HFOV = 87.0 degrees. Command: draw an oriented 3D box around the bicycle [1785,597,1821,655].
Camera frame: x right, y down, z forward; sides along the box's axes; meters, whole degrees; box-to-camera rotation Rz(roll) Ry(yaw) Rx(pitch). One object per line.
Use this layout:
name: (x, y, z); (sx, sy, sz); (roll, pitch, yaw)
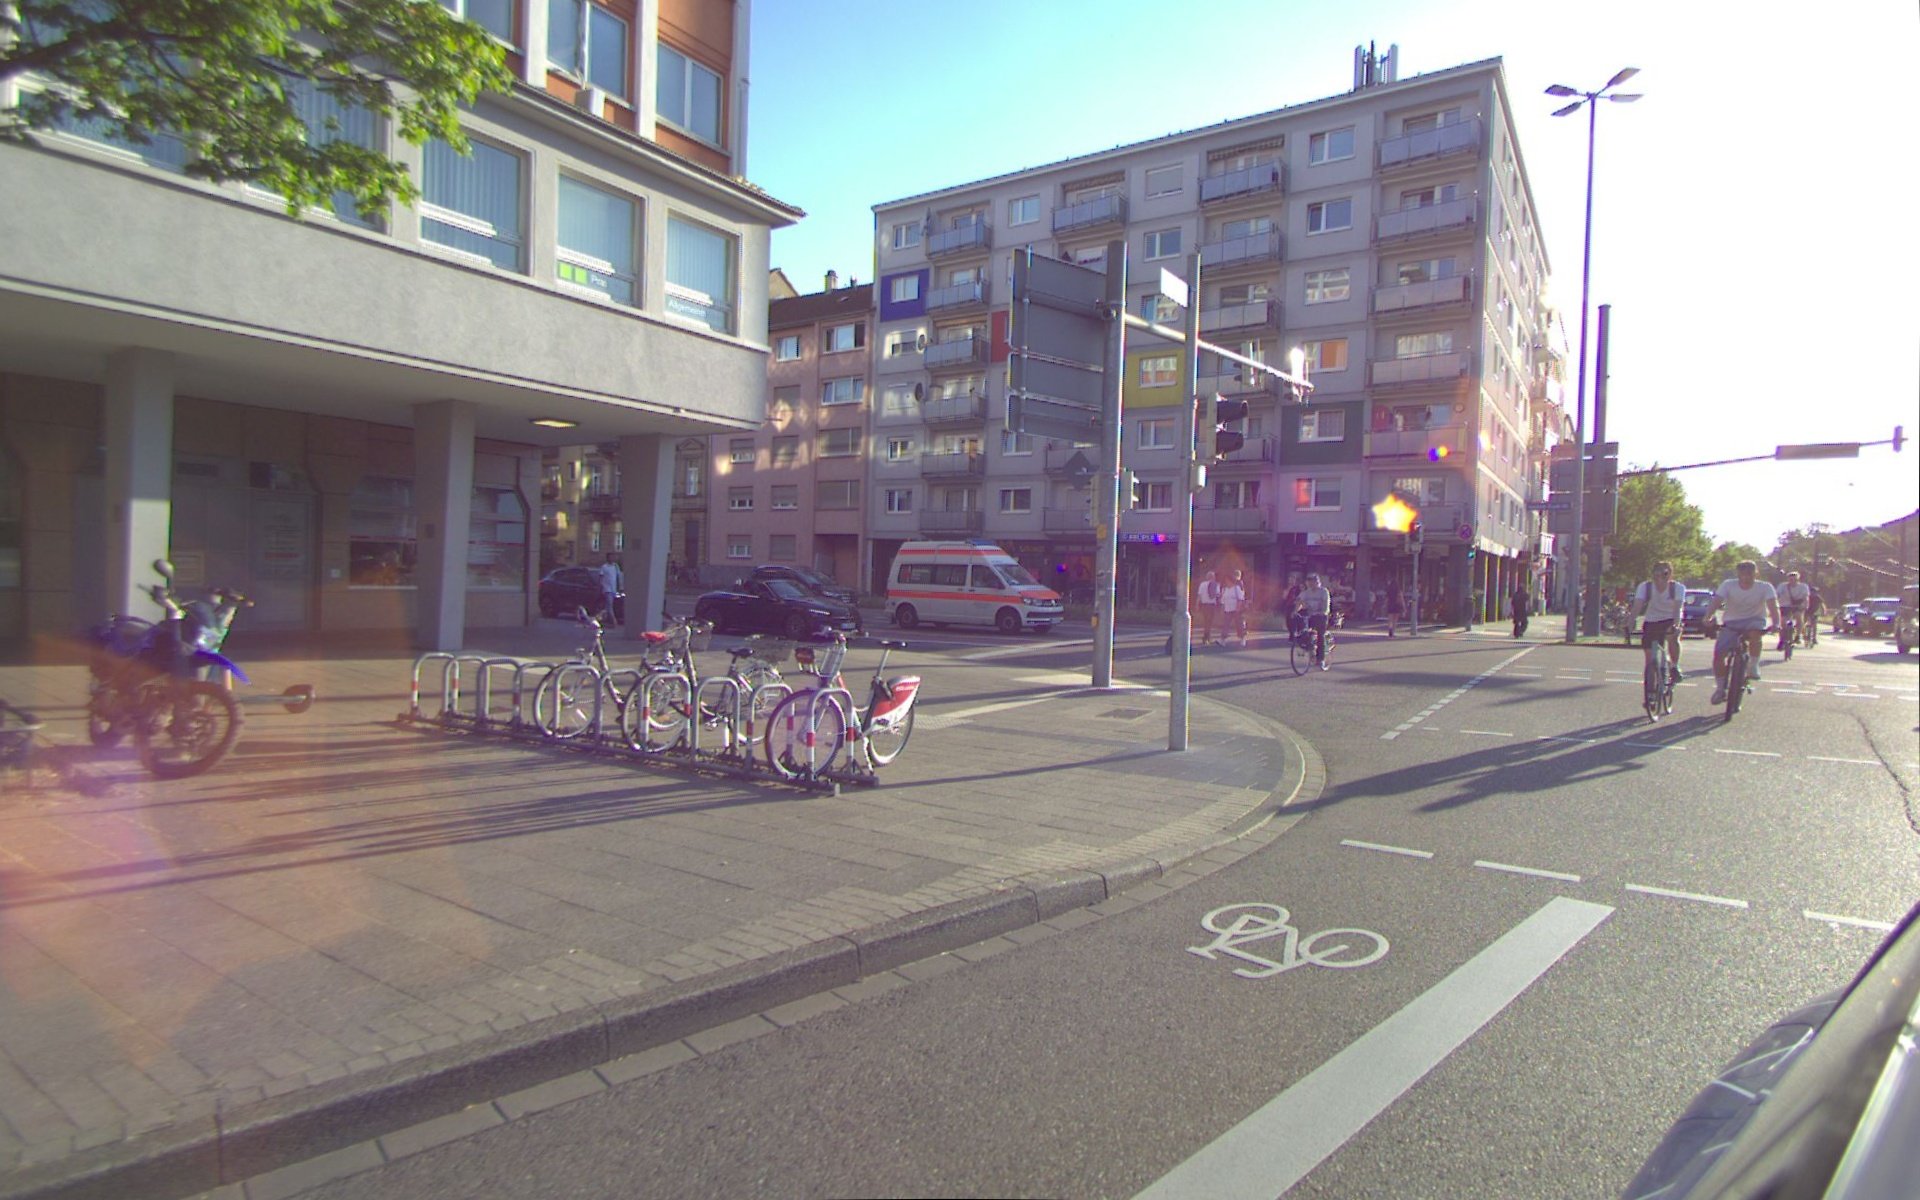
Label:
bicycle: (17.869, 0.522, 21.436); (0.528, 1.173, 1.821); (1, 1, 42)

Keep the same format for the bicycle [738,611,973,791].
bicycle: (-0.707, 0.665, 7.481); (0.643, 1.141, 1.849); (2, 0, 36)

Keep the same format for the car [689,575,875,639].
car: (-4.450, 0.116, 24.954); (4.649, 1.357, 1.816); (2, 1, 37)

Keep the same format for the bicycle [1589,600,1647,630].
bicycle: (26.165, 0.582, 40.278); (1.860, 1.074, 0.600); (2, 1, 33)

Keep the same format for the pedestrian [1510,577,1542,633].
pedestrian: (17.999, 0.149, 32.168); (0.661, 1.726, 1.056); (2, 1, 39)

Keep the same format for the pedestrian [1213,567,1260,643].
pedestrian: (6.330, 0.099, 23.134); (0.725, 1.683, 0.894); (2, 1, 36)

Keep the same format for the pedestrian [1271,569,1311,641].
pedestrian: (7.895, 0.109, 24.121); (0.680, 1.683, 0.737); (2, 1, 36)

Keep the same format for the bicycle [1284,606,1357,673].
bicycle: (6.057, 0.635, 16.968); (0.520, 0.992, 1.823); (2, 3, 41)

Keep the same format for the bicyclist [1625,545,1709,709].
bicyclist: (8.330, 0.289, 11.913); (0.673, 1.830, 0.979); (2, 1, 41)

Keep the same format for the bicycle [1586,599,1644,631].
bicycle: (26.405, 0.600, 40.824); (1.860, 1.139, 0.600); (5, 3, 31)

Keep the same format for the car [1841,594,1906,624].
car: (45.688, 0.412, 50.689); (1.804, 1.418, 3.872); (-1, 0, 33)

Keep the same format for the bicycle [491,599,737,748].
bicycle: (-3.048, 0.604, 9.154); (0.643, 1.172, 2.096); (2, 0, 35)

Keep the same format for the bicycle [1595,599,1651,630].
bicycle: (27.715, 0.598, 42.323); (1.860, 1.139, 0.562); (5, 3, 31)

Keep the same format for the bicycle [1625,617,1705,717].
bicycle: (8.293, 0.745, 11.875); (0.574, 1.041, 1.829); (1, 0, 41)

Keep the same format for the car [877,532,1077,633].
car: (0.388, -0.521, 27.523); (5.233, 2.513, 1.902); (2, 1, 35)

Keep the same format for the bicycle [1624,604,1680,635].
bicycle: (29.709, 0.841, 43.469); (1.860, 1.139, 0.562); (5, 3, 31)

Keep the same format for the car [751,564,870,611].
car: (-5.209, -0.463, 34.979); (3.976, 1.482, 1.765); (3, 2, 36)

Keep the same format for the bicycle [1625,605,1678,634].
bicycle: (31.621, 0.886, 46.301); (1.860, 1.139, 0.562); (5, 3, 31)

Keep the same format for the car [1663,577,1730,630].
car: (29.833, 0.111, 41.109); (1.930, 1.957, 4.774); (2, 1, 34)

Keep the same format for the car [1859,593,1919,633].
car: (42.237, 0.550, 45.500); (1.942, 1.734, 4.795); (-1, 0, 32)

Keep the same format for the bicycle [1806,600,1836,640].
bicycle: (26.307, 0.591, 30.936); (0.527, 1.173, 1.825); (1, 1, 36)

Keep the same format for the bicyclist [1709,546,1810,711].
bicyclist: (9.348, 0.300, 11.826); (0.826, 1.830, 1.041); (2, 1, 42)

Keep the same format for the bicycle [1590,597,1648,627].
bicycle: (25.851, 0.451, 39.749); (1.860, 1.074, 0.600); (2, 1, 33)

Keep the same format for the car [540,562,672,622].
car: (-10.057, -0.262, 28.693); (3.753, 1.528, 1.733); (3, 1, 37)

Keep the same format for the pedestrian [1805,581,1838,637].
pedestrian: (26.256, 0.253, 30.858); (0.675, 1.669, 0.890); (1, 0, 36)

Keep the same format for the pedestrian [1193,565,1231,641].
pedestrian: (5.909, 0.063, 23.715); (0.567, 1.722, 0.802); (2, 1, 36)

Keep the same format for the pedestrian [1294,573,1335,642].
pedestrian: (8.142, 0.162, 23.252); (0.680, 1.518, 0.737); (2, 1, 36)

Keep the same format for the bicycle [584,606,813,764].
bicycle: (-2.116, 0.642, 8.438); (0.643, 1.141, 1.849); (2, 0, 36)

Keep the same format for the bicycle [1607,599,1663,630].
bicycle: (28.440, 0.602, 42.659); (1.860, 1.139, 0.562); (5, 3, 31)

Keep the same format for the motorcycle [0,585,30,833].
motorcycle: (-5.793, 0.557, 4.655); (0.665, 1.258, 2.168); (2, 1, 40)

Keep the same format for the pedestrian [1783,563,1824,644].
pedestrian: (17.802, 0.069, 21.361); (0.638, 1.669, 0.830); (1, 0, 41)

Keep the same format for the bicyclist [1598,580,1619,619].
bicyclist: (31.234, -0.032, 48.742); (0.740, 1.830, 1.368); (2, 1, 36)

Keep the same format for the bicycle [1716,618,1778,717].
bicycle: (9.306, 0.755, 11.944); (0.478, 1.041, 1.952); (1, 0, 41)

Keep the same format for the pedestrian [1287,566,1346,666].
pedestrian: (5.995, 0.242, 17.017); (0.675, 1.609, 0.750); (2, 3, 41)

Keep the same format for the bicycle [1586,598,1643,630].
bicycle: (26.697, 0.572, 41.331); (1.860, 1.139, 0.562); (5, 3, 31)

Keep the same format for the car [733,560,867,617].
car: (-4.937, -0.368, 31.030); (4.057, 1.590, 1.578); (2, 1, 34)

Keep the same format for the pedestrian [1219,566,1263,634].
pedestrian: (7.437, -0.011, 26.729); (0.781, 1.722, 1.014); (2, 1, 36)

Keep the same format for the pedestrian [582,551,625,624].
pedestrian: (-8.933, -0.311, 25.356); (0.815, 1.778, 0.631); (2, 1, 37)

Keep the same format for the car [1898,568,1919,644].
car: (26.365, 0.193, 26.396); (1.907, 2.014, 4.889); (2, 1, 33)

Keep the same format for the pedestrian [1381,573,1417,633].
pedestrian: (12.017, 0.080, 27.711); (0.680, 1.609, 0.736); (2, 1, 39)

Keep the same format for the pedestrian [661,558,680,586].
pedestrian: (-16.823, -1.599, 58.789); (0.722, 1.596, 0.703); (2, 1, 32)

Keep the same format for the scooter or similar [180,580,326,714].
scooter or similar: (-7.025, 0.445, 10.087); (1.160, 1.270, 0.416); (1, 1, -36)

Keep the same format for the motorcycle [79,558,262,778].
motorcycle: (-5.932, 0.413, 7.557); (2.043, 1.424, 0.749); (2, 1, 43)
